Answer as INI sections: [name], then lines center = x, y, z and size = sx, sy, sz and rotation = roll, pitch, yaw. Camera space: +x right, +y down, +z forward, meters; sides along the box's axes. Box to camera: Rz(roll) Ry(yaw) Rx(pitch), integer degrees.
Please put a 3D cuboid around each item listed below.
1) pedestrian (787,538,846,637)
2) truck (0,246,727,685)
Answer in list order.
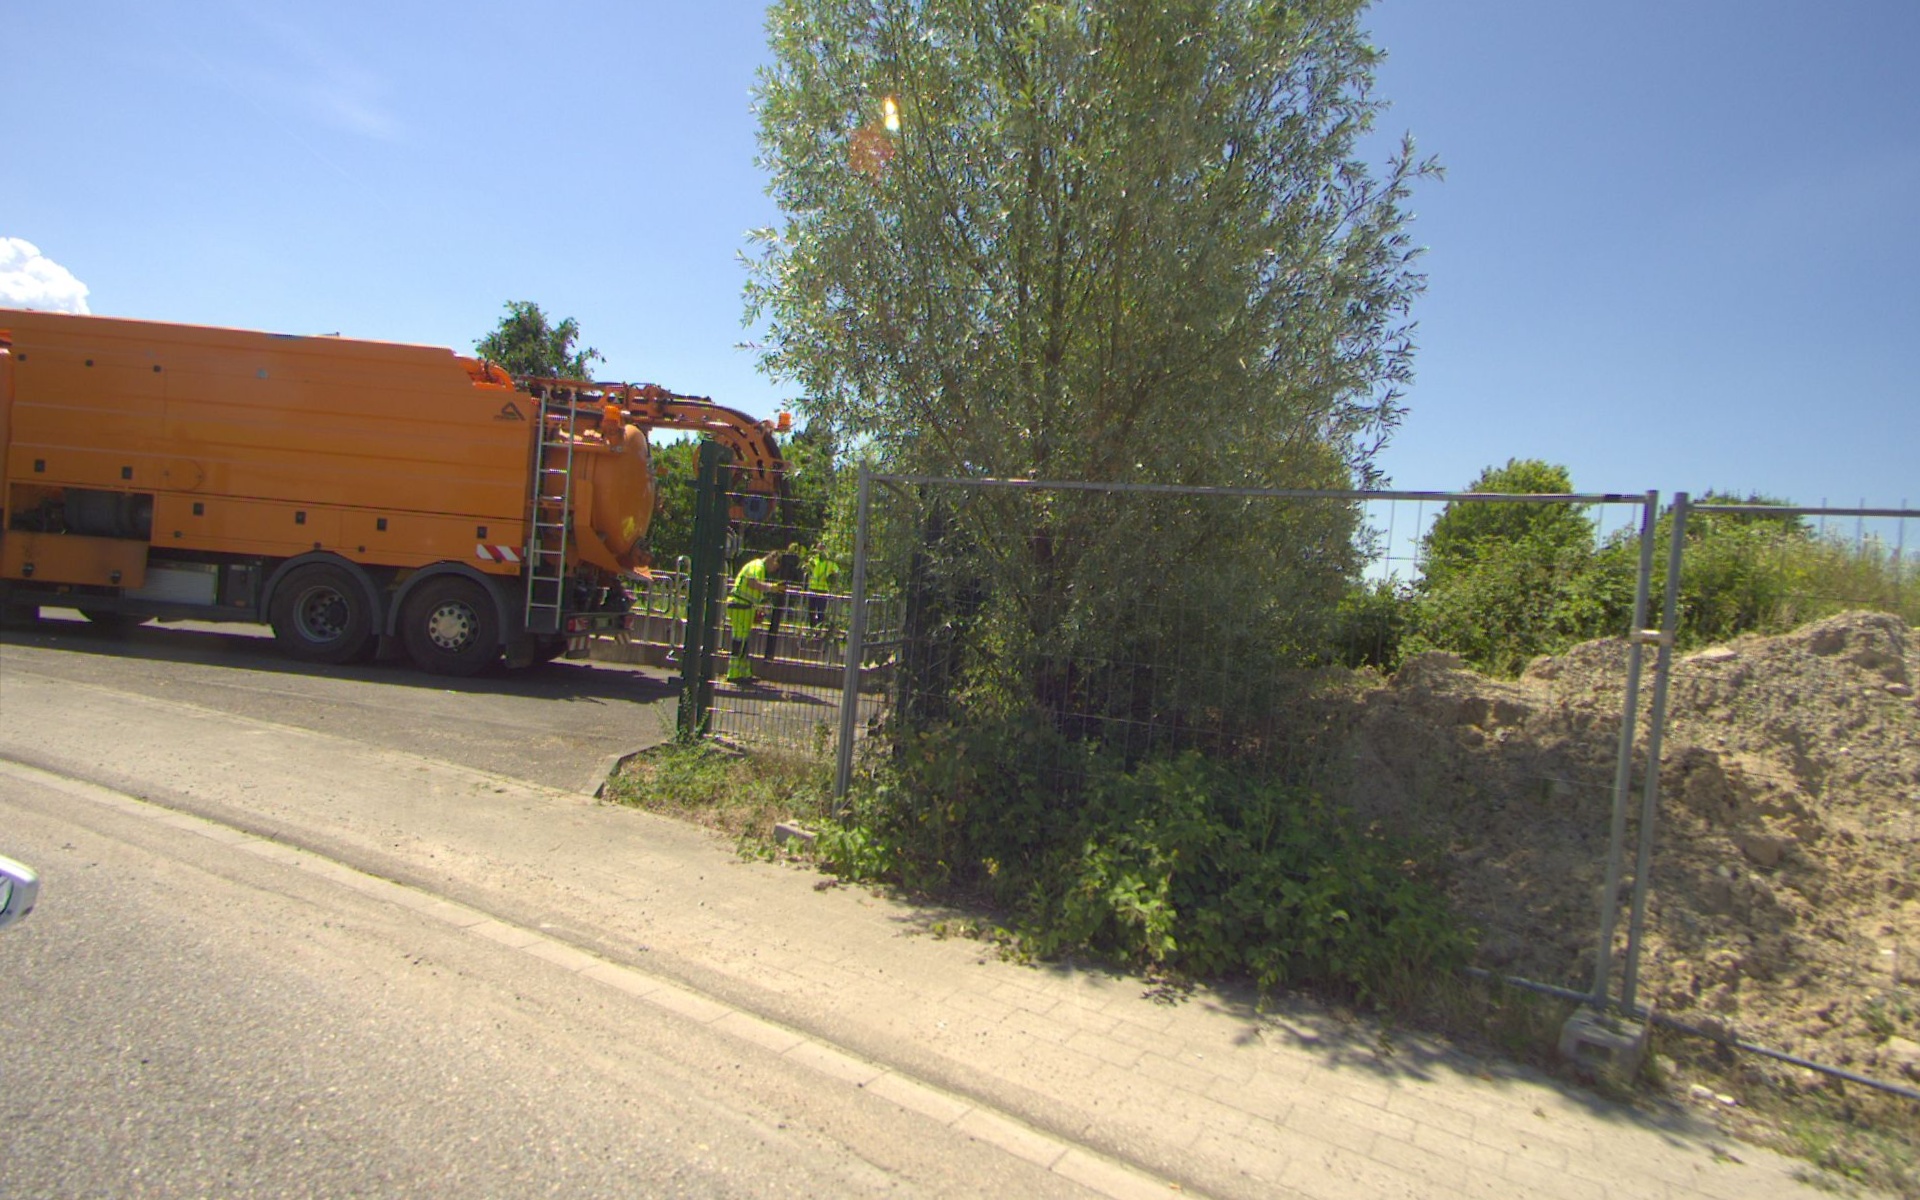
[pedestrian]
center = -2.846, -0.248, 19.983
size = 0.862, 1.849, 0.739
rotation = 6, 2, 1
[truck]
center = -7.716, -1.490, 12.435
size = 8.452, 3.856, 4.161
rotation = 6, 2, -1
